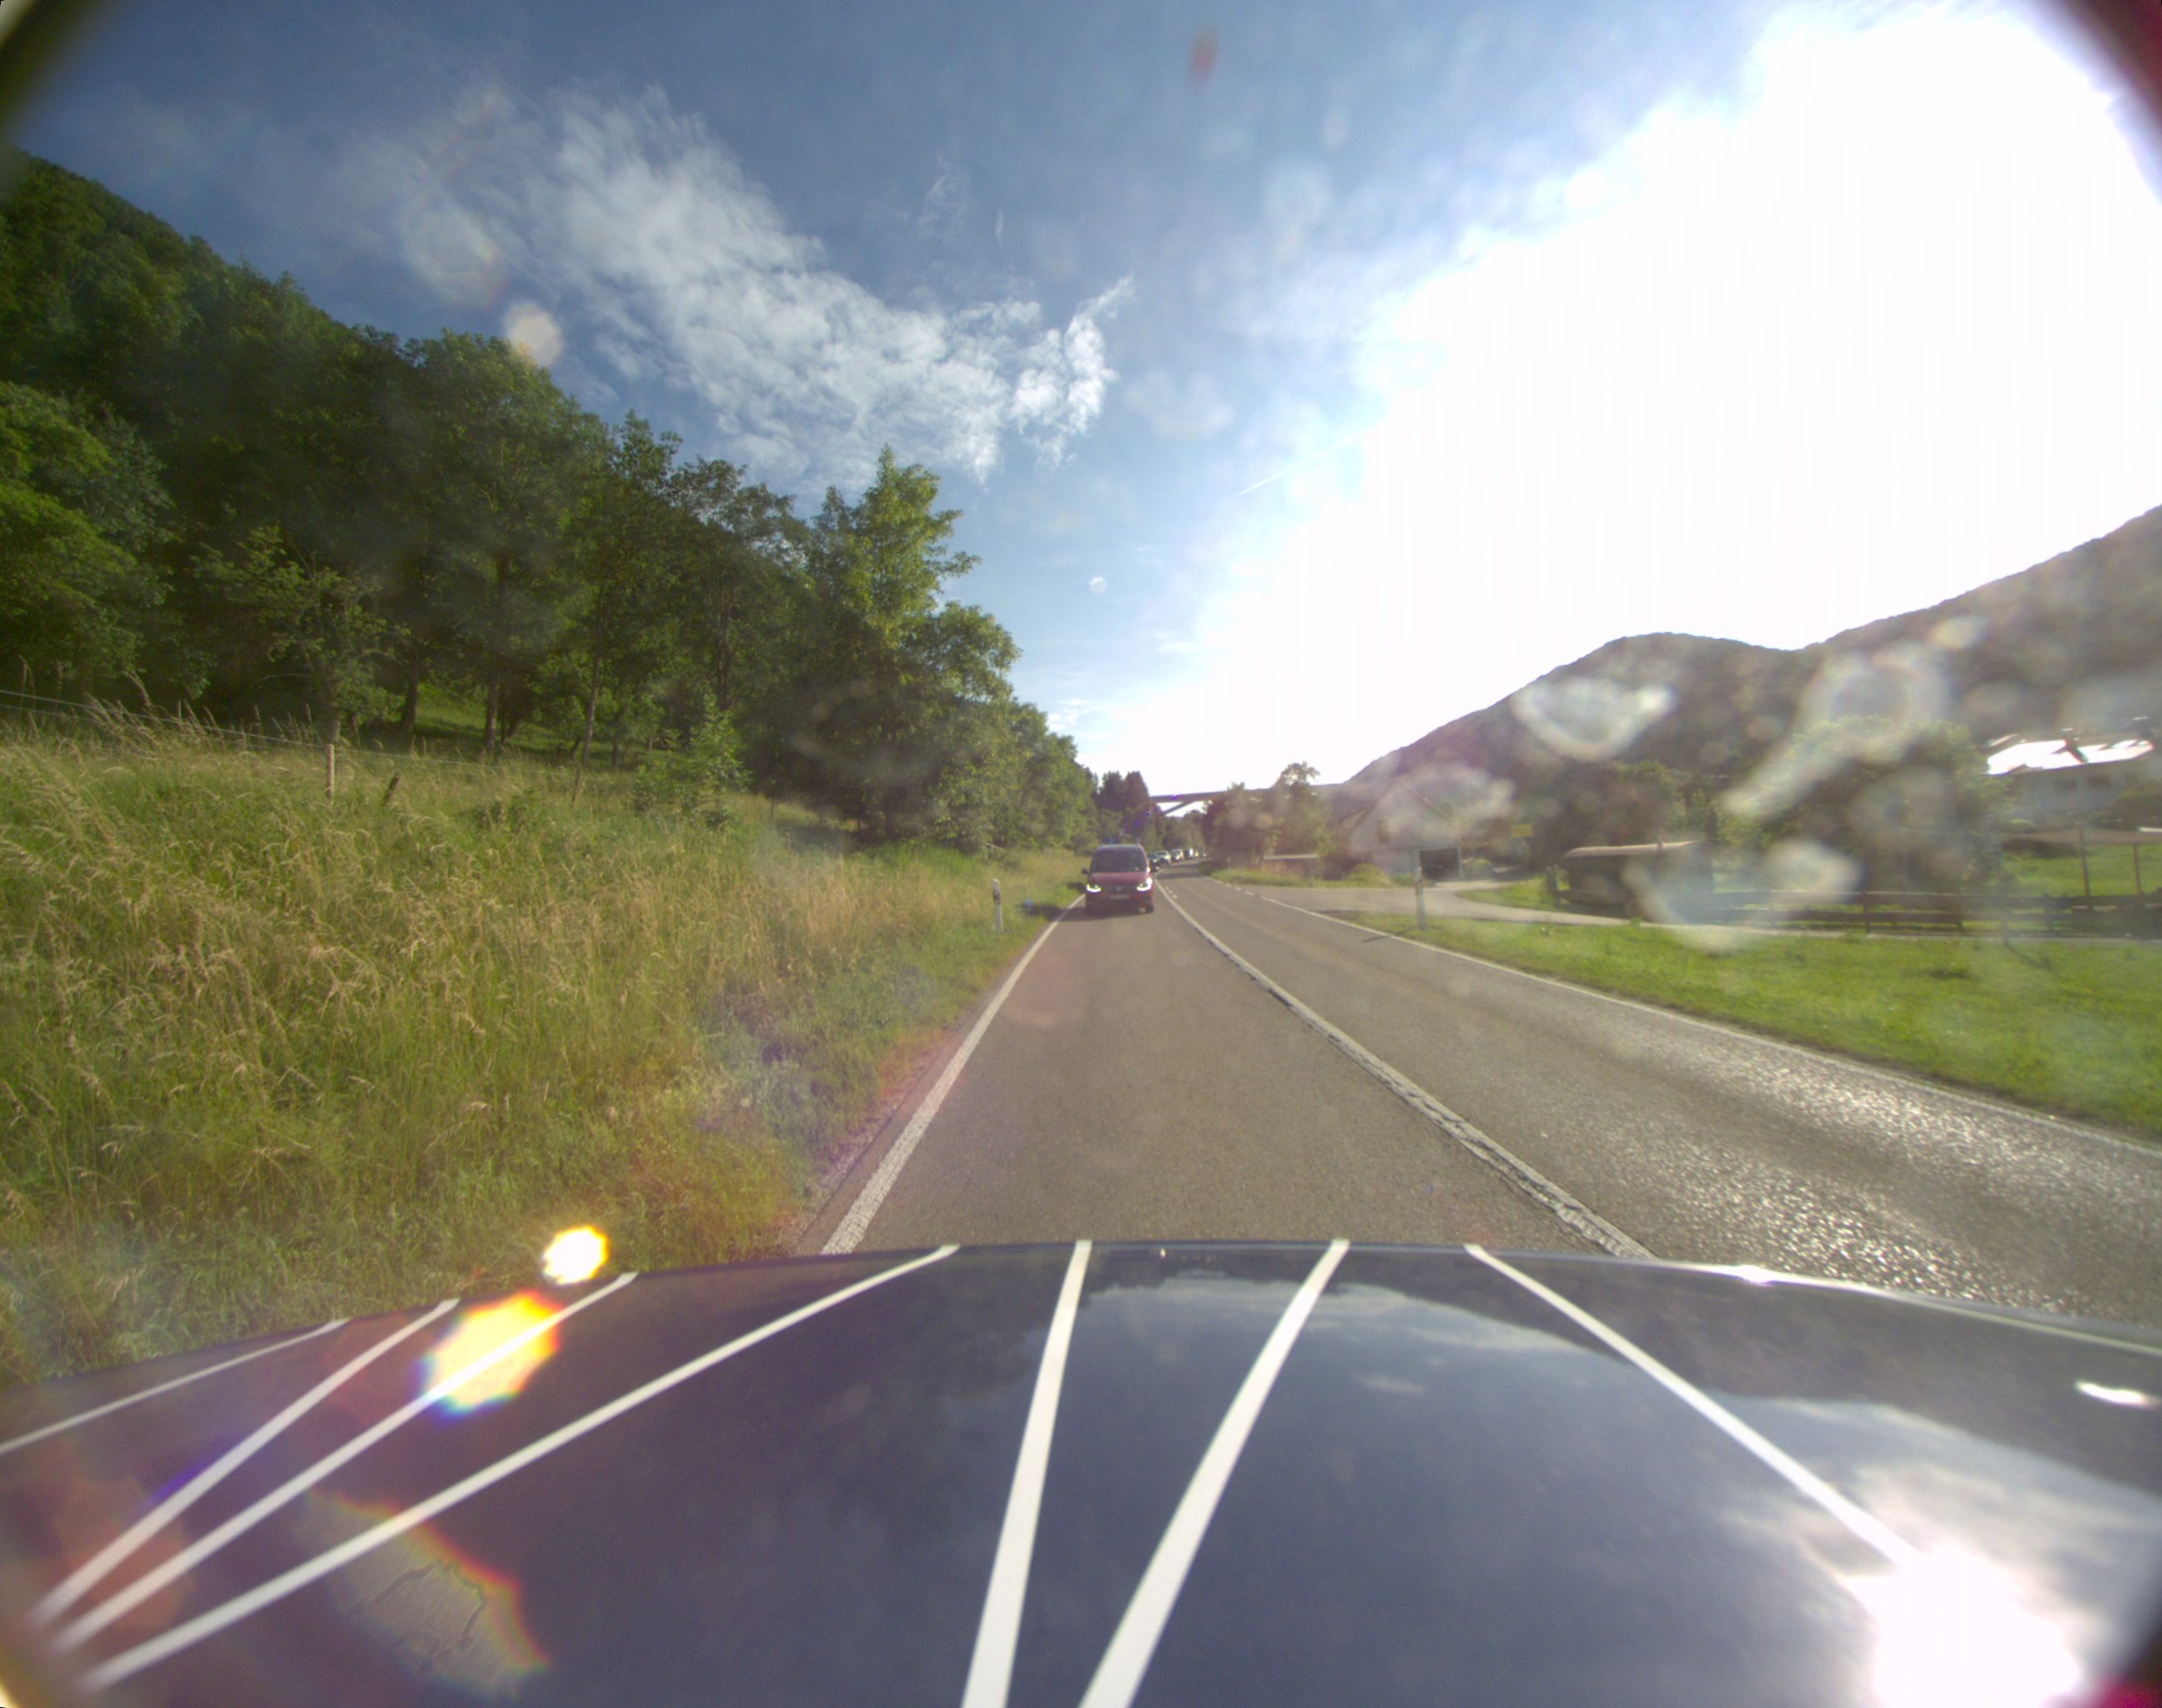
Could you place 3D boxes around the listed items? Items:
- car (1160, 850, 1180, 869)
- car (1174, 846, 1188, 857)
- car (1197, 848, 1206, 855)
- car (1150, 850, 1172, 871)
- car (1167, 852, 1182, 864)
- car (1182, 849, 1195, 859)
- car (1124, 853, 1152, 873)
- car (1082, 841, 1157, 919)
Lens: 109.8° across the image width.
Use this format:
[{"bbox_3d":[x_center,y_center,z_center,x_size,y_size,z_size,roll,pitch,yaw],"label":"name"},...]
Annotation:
[{"bbox_3d":[10.005,0.628,85.339,1.913,2.002,4.003,-1,1,10],"label":"car"},{"bbox_3d":[15.002,-0.386,113.457,1.817,1.608,4.003,-1,1,10],"label":"car"},{"bbox_3d":[26.811,-0.517,169.114,1.840,1.543,4.181,-1,1,13],"label":"car"},{"bbox_3d":[7.921,0.643,75.251,1.913,2.002,4.002,-1,1,9],"label":"car"},{"bbox_3d":[12.699,0.553,103.080,1.840,1.543,4.180,-1,1,10],"label":"car"},{"bbox_3d":[18.005,0.044,127.586,1.817,1.608,4.003,-1,1,12],"label":"car"},{"bbox_3d":[4.860,0.729,63.924,1.840,1.543,4.181,-1,1,11],"label":"car"},{"bbox_3d":[1.038,0.633,20.737,1.772,1.855,3.875,-3,0,2],"label":"car"}]
